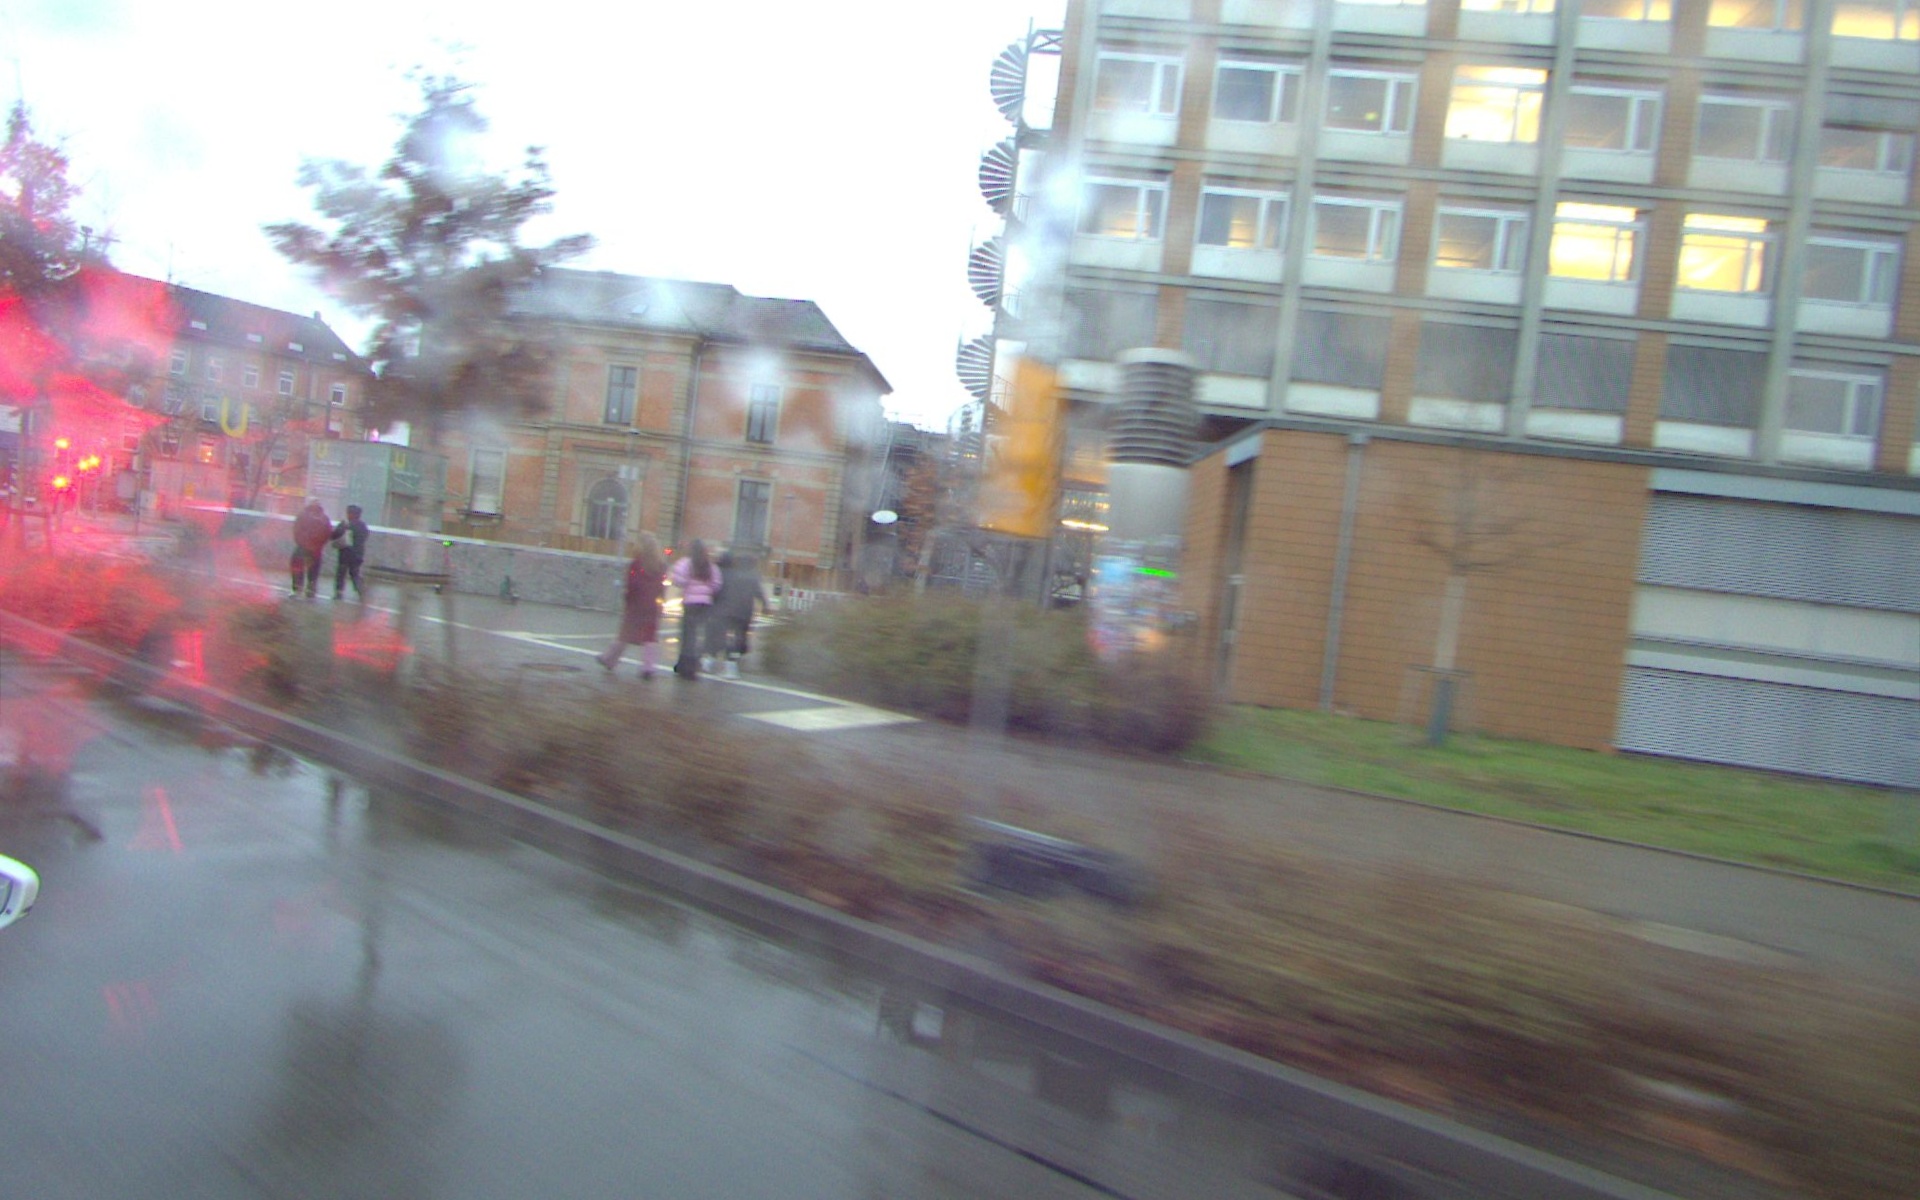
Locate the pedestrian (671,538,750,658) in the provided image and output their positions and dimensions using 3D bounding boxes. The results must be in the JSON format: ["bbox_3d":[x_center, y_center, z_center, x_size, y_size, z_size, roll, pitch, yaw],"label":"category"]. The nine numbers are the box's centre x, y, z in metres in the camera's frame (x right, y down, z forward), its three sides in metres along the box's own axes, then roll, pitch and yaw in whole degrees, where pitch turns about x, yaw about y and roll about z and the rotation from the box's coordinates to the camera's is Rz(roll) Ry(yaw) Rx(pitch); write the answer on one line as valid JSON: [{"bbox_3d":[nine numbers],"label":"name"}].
[{"bbox_3d":[-4.016,-0.023,16.238,0.735,1.814,0.853,7,1,16],"label":"pedestrian"}]

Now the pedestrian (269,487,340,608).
[{"bbox_3d":[-11.453,-0.922,17.599,0.802,1.954,0.753,8,2,-32],"label":"pedestrian"}]

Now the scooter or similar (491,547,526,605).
[{"bbox_3d":[-10.229,-0.552,22.778,0.508,1.229,1.372,6,1,-29],"label":"scooter or similar"}]

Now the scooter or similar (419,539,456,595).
[{"bbox_3d":[-12.157,-0.768,23.423,0.507,1.229,1.376,6,1,-21],"label":"scooter or similar"}]

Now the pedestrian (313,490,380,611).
[{"bbox_3d":[-11.087,-0.901,18.206,0.802,2.039,0.753,8,2,-32],"label":"pedestrian"}]

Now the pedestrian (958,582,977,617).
[{"bbox_3d":[0.383,-0.032,49.836,0.652,1.678,0.788,6,1,-7],"label":"pedestrian"}]

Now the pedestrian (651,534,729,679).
[{"bbox_3d":[-3.365,0.076,12.521,0.662,1.711,0.606,4,4,-32],"label":"pedestrian"}]

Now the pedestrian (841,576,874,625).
[{"bbox_3d":[-3.846,0.030,37.822,0.787,1.726,0.917,7,1,18],"label":"pedestrian"}]

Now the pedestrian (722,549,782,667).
[{"bbox_3d":[-3.333,0.130,16.151,0.549,1.814,0.584,7,1,16],"label":"pedestrian"}]

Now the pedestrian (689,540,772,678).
[{"bbox_3d":[-3.036,0.113,13.272,0.712,1.709,0.753,5,1,-32],"label":"pedestrian"}]

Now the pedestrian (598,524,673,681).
[{"bbox_3d":[-3.924,0.023,12.148,0.579,1.805,0.762,4,2,-31],"label":"pedestrian"}]
